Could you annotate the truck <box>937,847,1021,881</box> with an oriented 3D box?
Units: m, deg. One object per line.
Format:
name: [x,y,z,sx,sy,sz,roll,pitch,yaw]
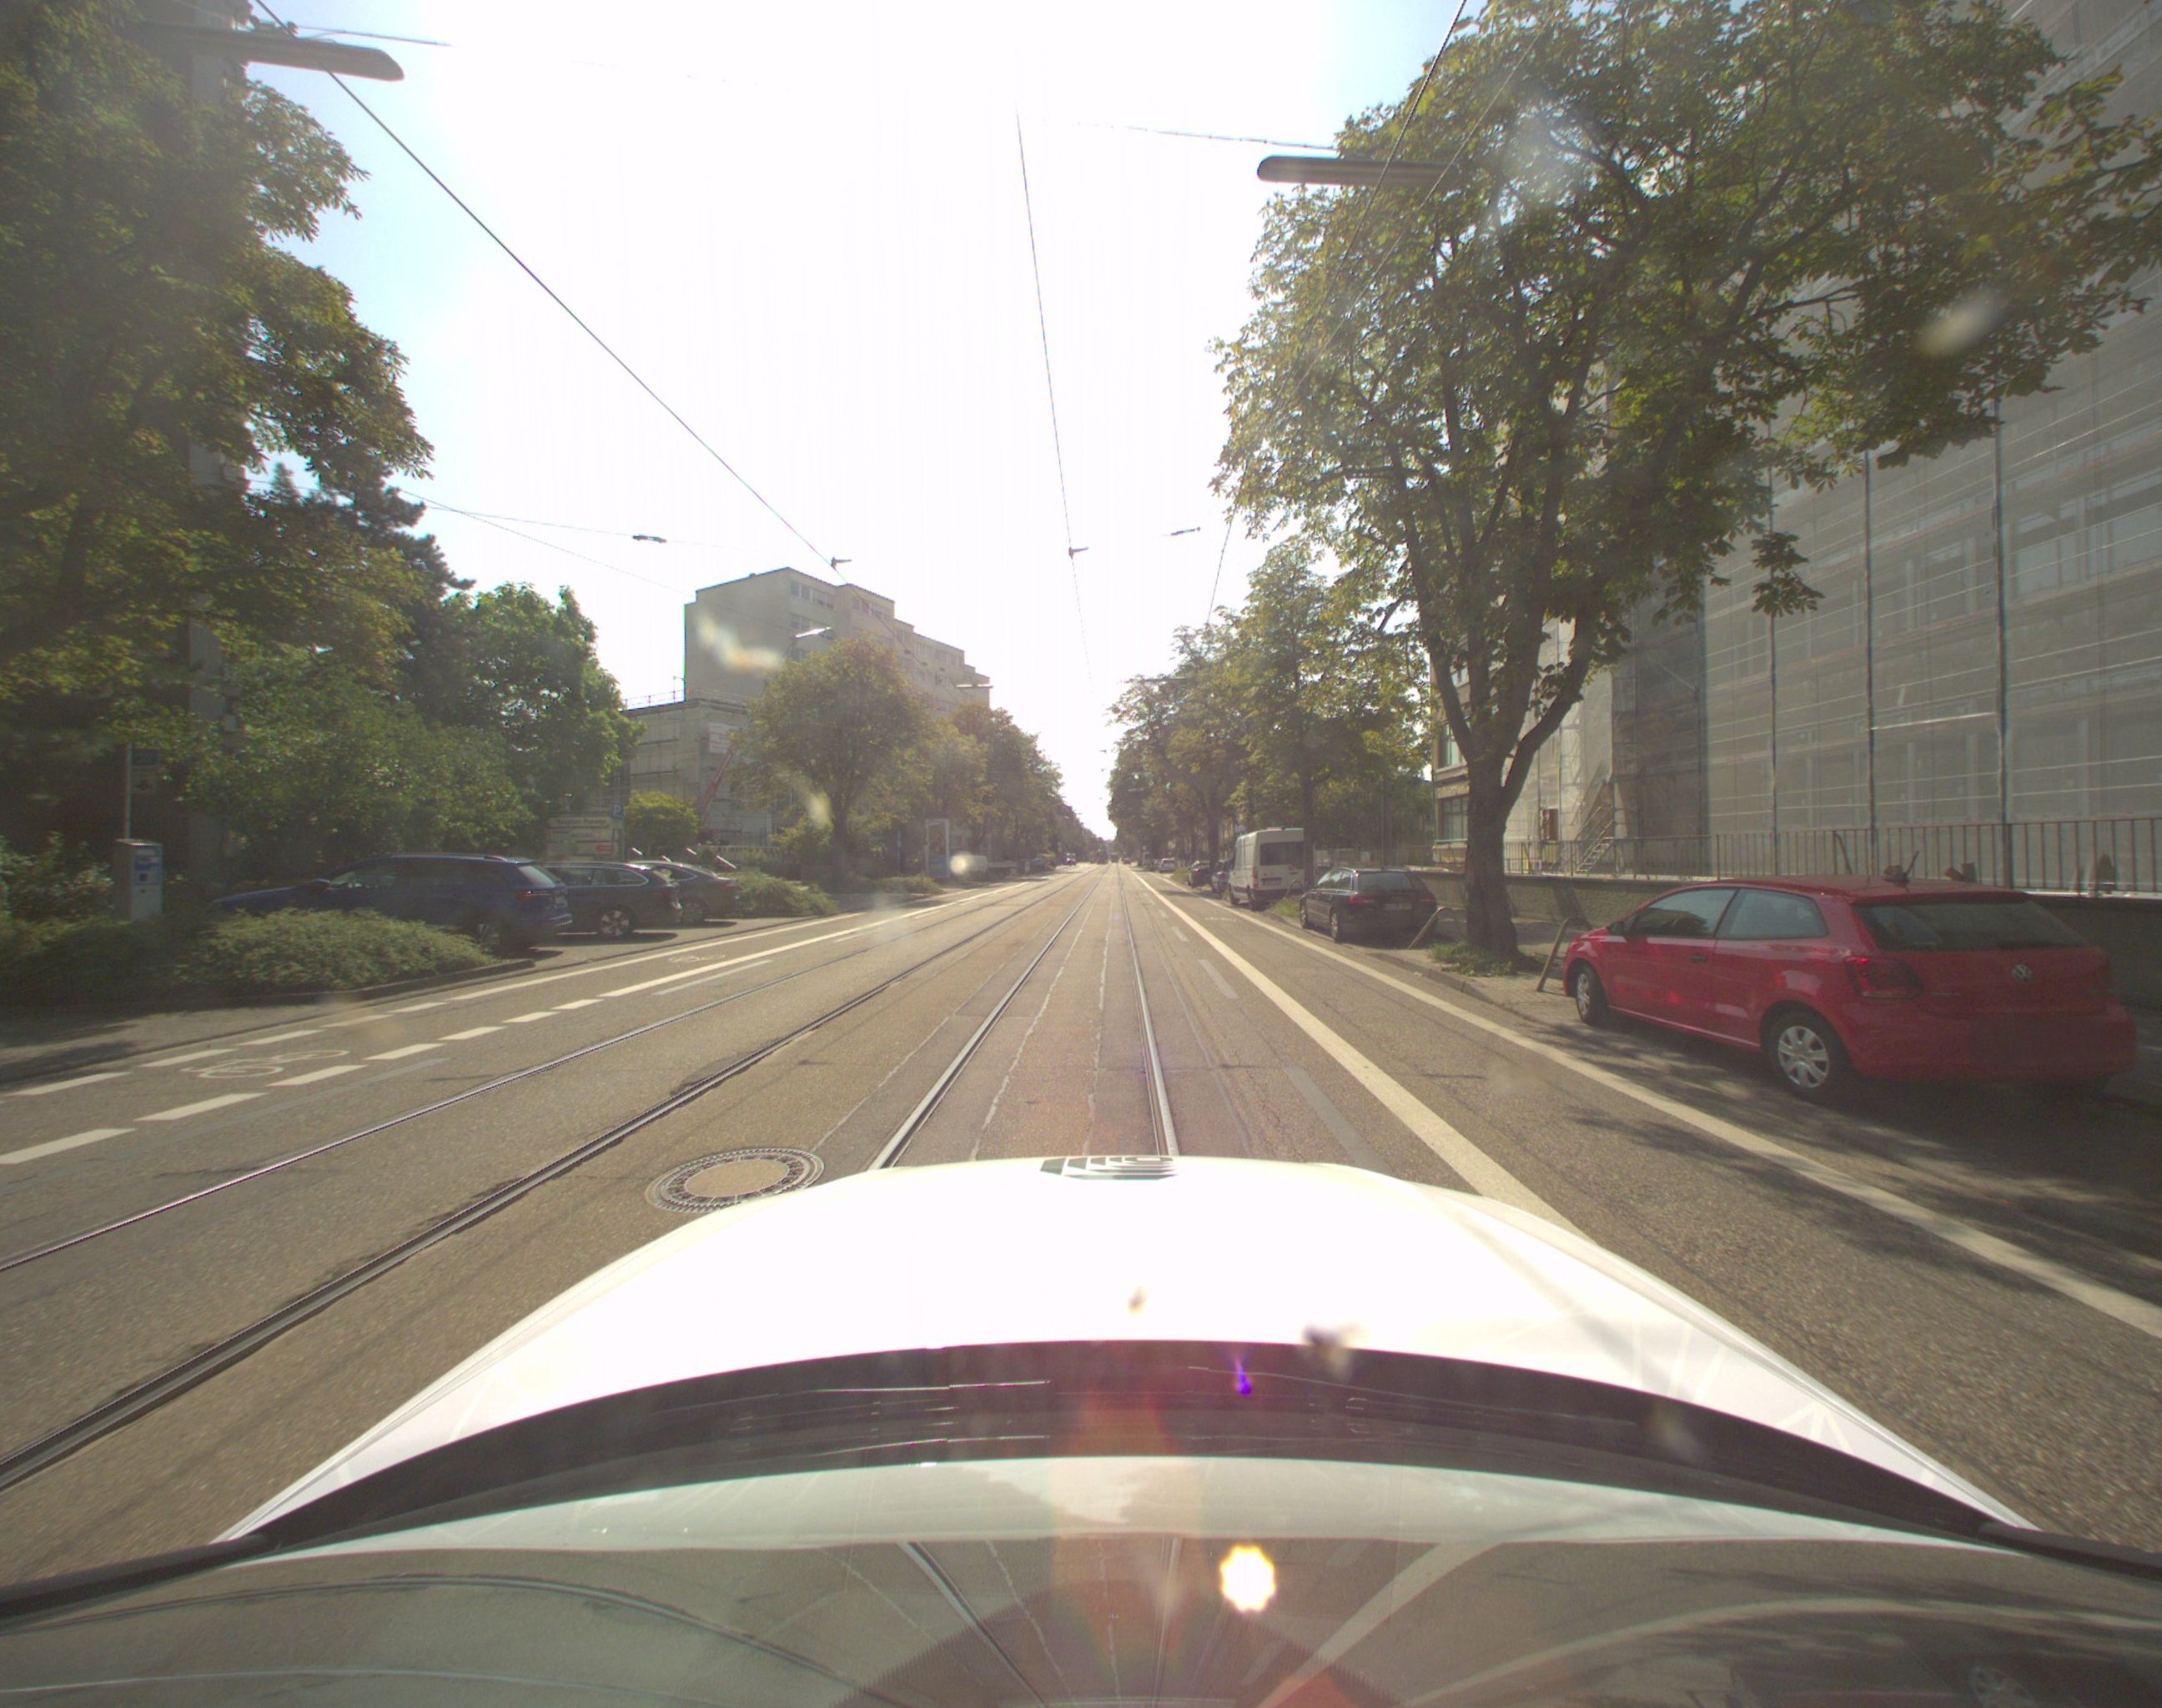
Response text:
truck: [-7.614,0.723,61.360,5.996,2.434,2.127,0,-1,-37]

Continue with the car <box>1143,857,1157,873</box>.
car: [10.255,1.638,121.202,1.985,2.365,4.003,0,-1,3]

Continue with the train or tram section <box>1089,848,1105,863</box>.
train or tram section: [4.084,0.442,203.141,3.482,3.704,12.423,0,0,3]

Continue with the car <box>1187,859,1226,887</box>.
car: [7.059,1.053,46.291,1.667,1.458,4.667,-1,0,3]

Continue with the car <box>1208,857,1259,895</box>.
car: [6.822,0.978,36.825,1.667,1.580,4.174,-2,-1,3]

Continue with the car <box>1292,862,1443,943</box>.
car: [5.742,0.898,16.955,1.678,1.440,4.807,0,-1,3]

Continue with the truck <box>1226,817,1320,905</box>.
truck: [6.220,0.234,27.054,1.910,2.599,5.593,0,-1,1]

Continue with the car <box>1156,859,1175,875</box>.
car: [8.262,1.271,79.720,1.783,1.446,3.738,-2,-1,5]

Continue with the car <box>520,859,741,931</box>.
car: [-10.229,0.884,18.885,4.301,1.497,1.766,0,0,-24]

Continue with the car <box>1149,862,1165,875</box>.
car: [9.272,1.727,99.389,1.786,1.577,4.005,-1,0,4]

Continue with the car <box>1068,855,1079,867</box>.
car: [-1.611,1.545,171.449,2.235,2.441,3.998,0,-1,-1]

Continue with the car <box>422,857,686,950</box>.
car: [-9.841,0.854,15.621,4.006,1.570,1.766,0,0,-25]

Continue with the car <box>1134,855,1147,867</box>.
car: [10.769,1.306,148.282,1.989,2.233,3.996,-1,-1,-2]

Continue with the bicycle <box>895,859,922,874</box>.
bicycle: [-14.504,1.043,68.444,2.318,1.169,0.605,1,-1,22]

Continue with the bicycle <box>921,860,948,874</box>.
bicycle: [-13.039,1.147,72.370,2.319,1.169,0.565,1,-1,19]

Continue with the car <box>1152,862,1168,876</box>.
car: [9.040,1.703,93.478,1.634,1.512,3.643,0,-1,3]

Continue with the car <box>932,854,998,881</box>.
car: [-8.162,0.931,57.400,4.308,1.772,1.804,0,-1,-41]

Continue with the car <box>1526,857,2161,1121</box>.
car: [5.576,0.800,6.717,1.679,1.500,4.134,0,-1,2]

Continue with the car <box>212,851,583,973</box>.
car: [-10.247,0.794,12.649,4.001,1.648,1.829,0,0,-21]

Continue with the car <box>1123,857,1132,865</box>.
car: [10.706,1.632,188.140,1.985,1.801,4.003,0,-1,3]
